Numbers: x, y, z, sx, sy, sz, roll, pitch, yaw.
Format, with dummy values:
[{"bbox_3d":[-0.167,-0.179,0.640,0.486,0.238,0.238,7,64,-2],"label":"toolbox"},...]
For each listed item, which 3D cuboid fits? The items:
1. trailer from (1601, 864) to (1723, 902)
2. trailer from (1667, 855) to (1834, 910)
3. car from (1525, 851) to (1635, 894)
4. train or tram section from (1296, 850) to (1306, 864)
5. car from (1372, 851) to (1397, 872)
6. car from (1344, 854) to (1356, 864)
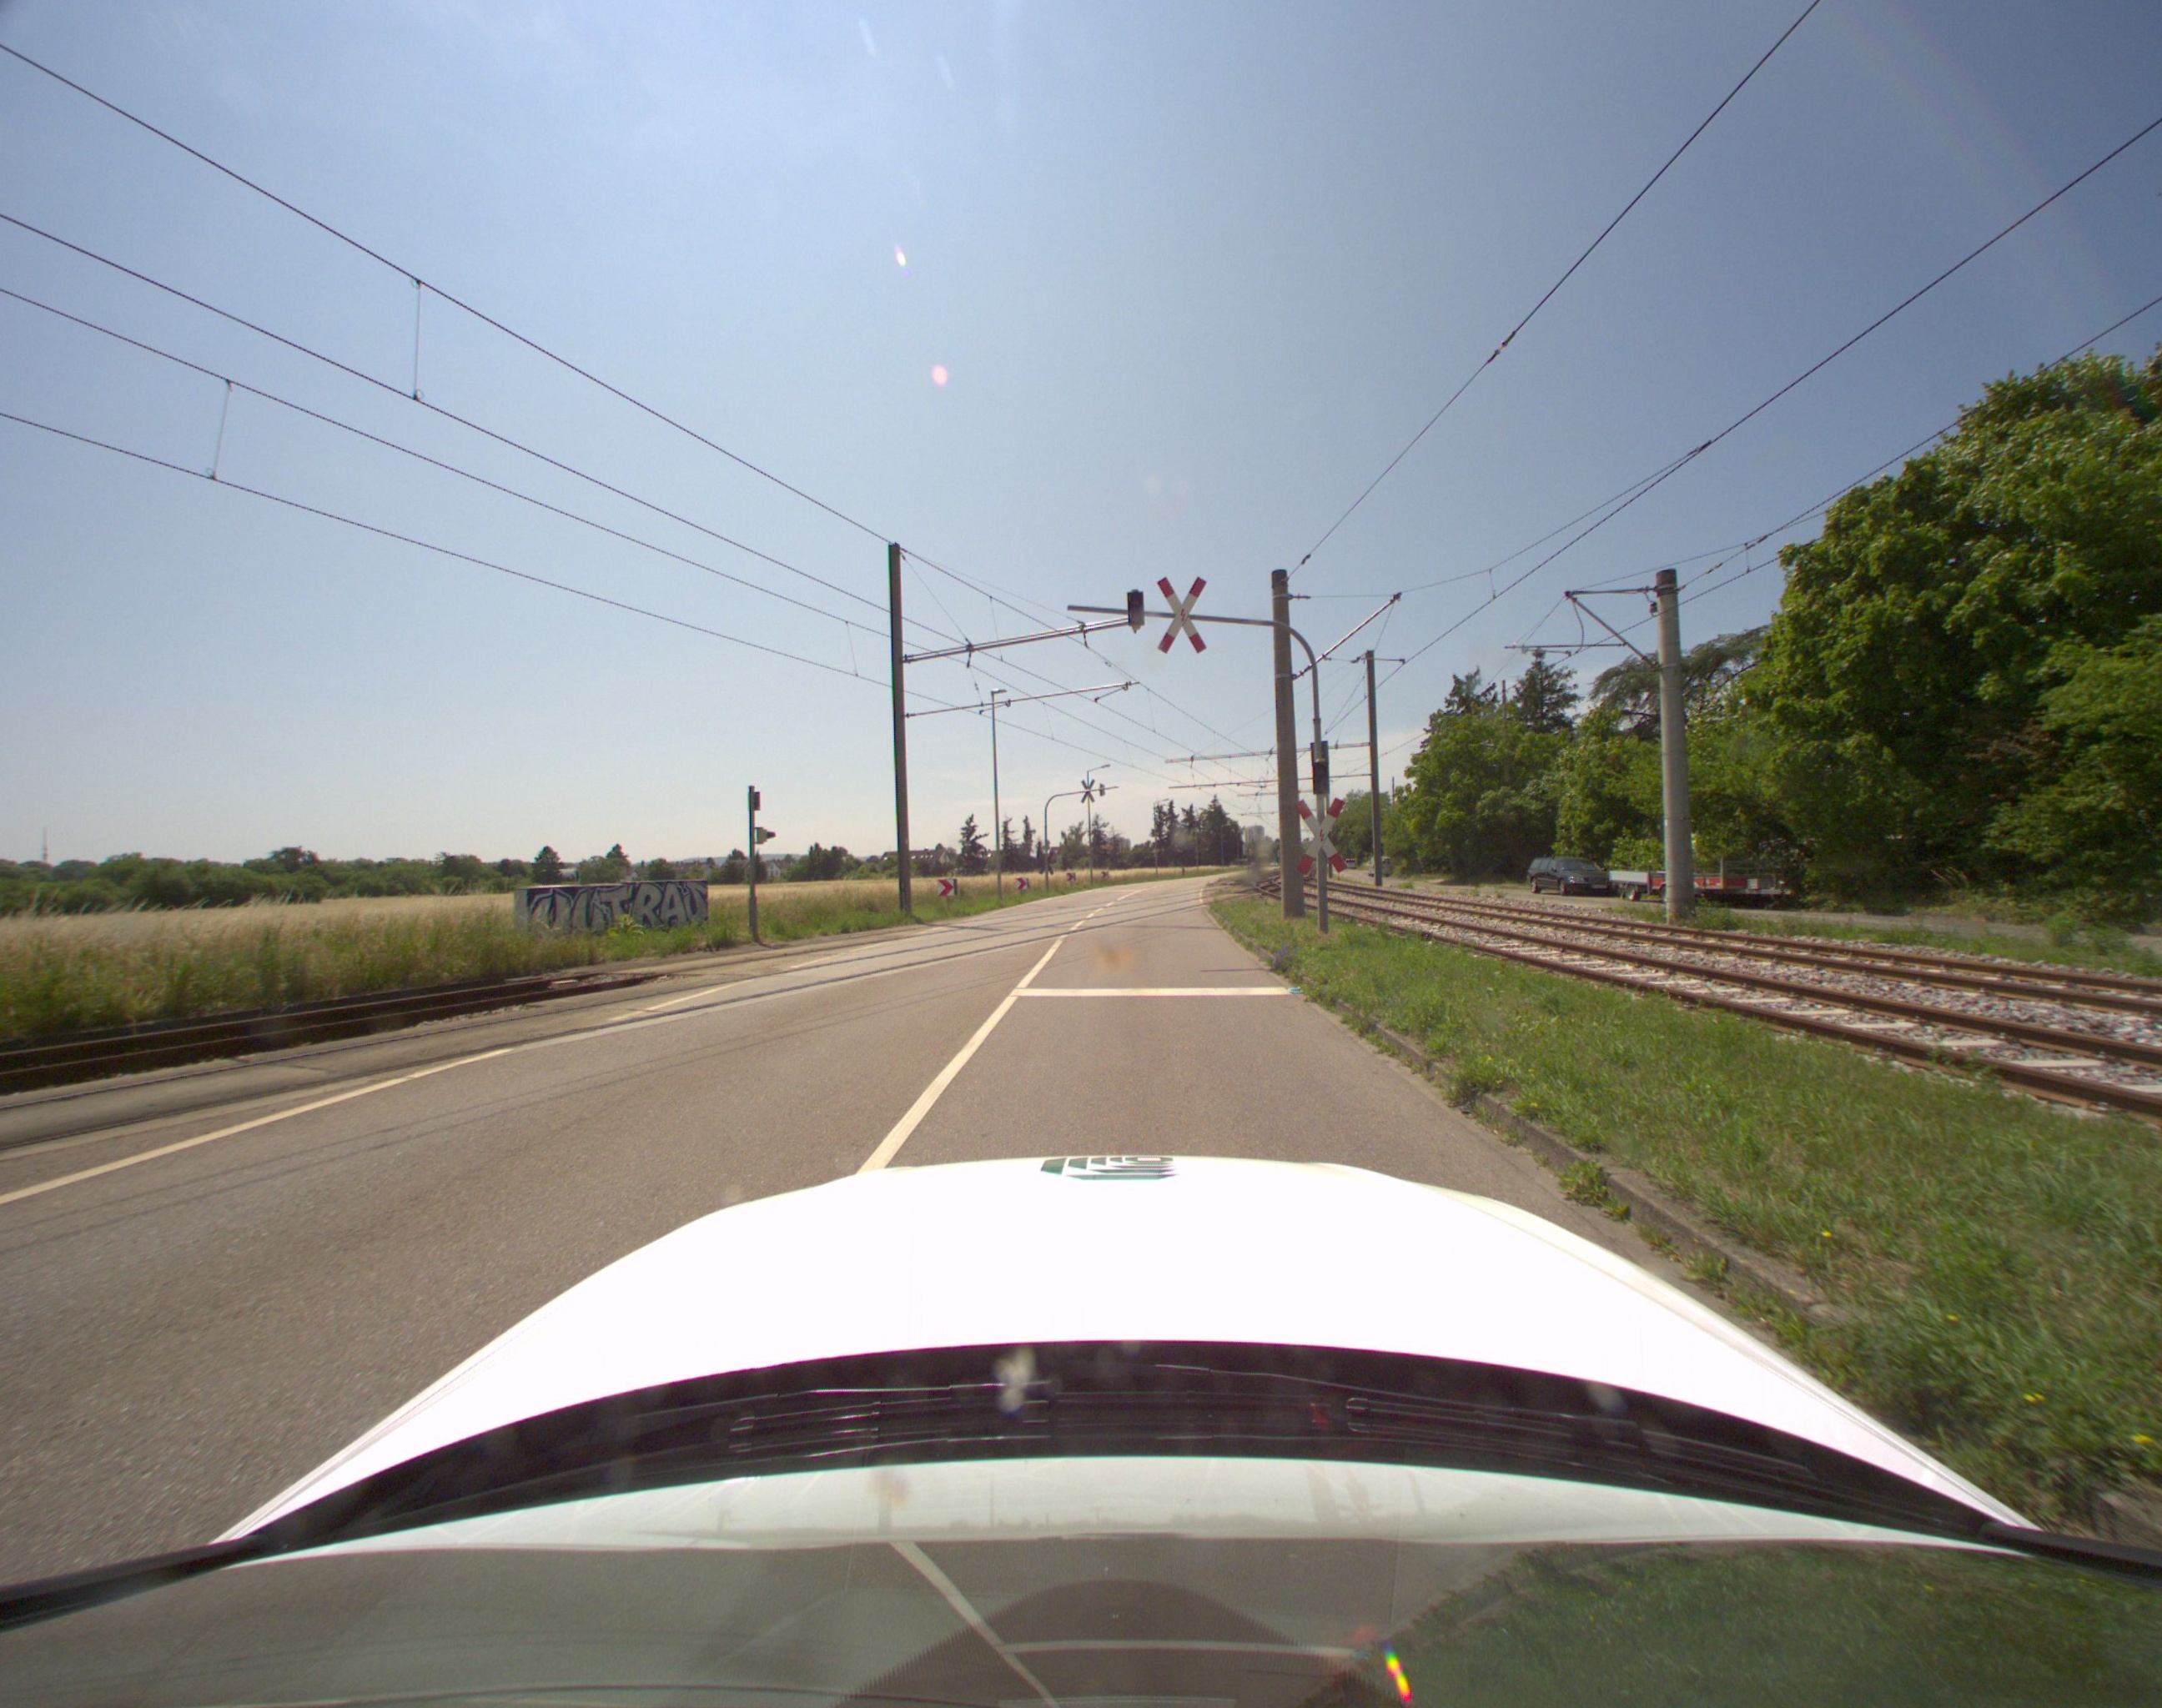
[{"bbox_3d":[17.692,0.838,25.007,1.411,0.994,4.010,0,0,9],"label":"trailer"},{"bbox_3d":[17.070,0.725,21.026,1.453,1.222,4.009,-2,-2,9],"label":"trailer"},{"bbox_3d":[18.536,0.718,30.524,1.786,1.426,4.751,-2,-2,9],"label":"car"},{"bbox_3d":[60.701,0.858,224.404,2.410,3.766,11.607,-3,-2,16],"label":"train or tram section"},{"bbox_3d":[29.244,0.777,78.578,2.020,1.882,5.092,-3,-2,18],"label":"car"},{"bbox_3d":[50.700,0.957,153.471,1.978,1.802,4.814,-3,-2,16],"label":"car"}]
